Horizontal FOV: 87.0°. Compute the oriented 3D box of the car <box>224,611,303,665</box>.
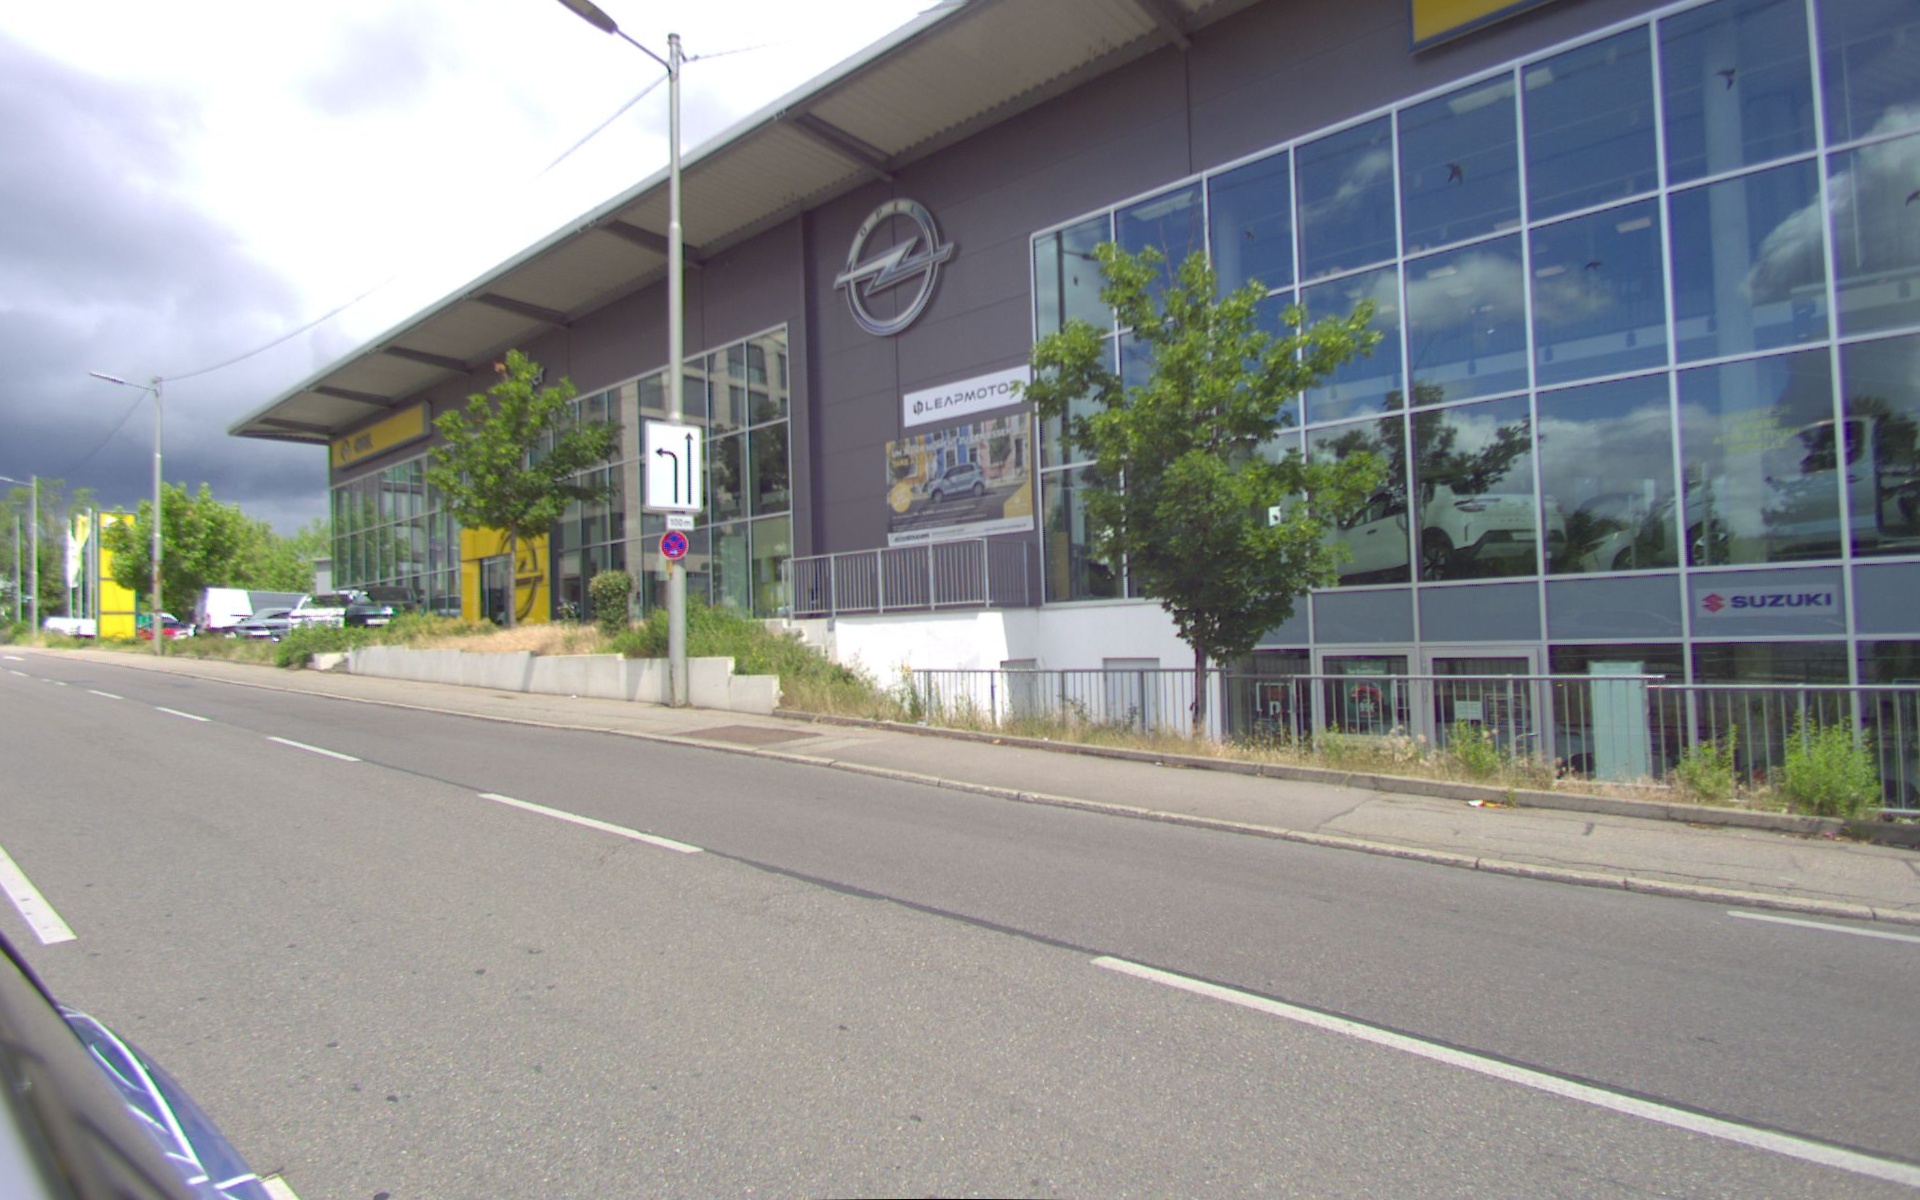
[{"bbox_3d":[-24.925,1.316,36.338,1.966,1.807,4.012,1,-1,-29],"label":"car"}]

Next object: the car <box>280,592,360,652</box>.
[{"bbox_3d":[-20.717,0.710,32.915,1.966,1.807,4.012,1,-1,-29],"label":"car"}]

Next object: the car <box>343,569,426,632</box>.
[{"bbox_3d":[-17.094,0.048,29.972,1.966,1.741,4.012,1,-1,-32],"label":"car"}]

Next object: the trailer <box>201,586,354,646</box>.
[{"bbox_3d":[-28.801,0.686,42.852,1.998,2.367,5.011,-1,-1,39],"label":"trailer"}]
